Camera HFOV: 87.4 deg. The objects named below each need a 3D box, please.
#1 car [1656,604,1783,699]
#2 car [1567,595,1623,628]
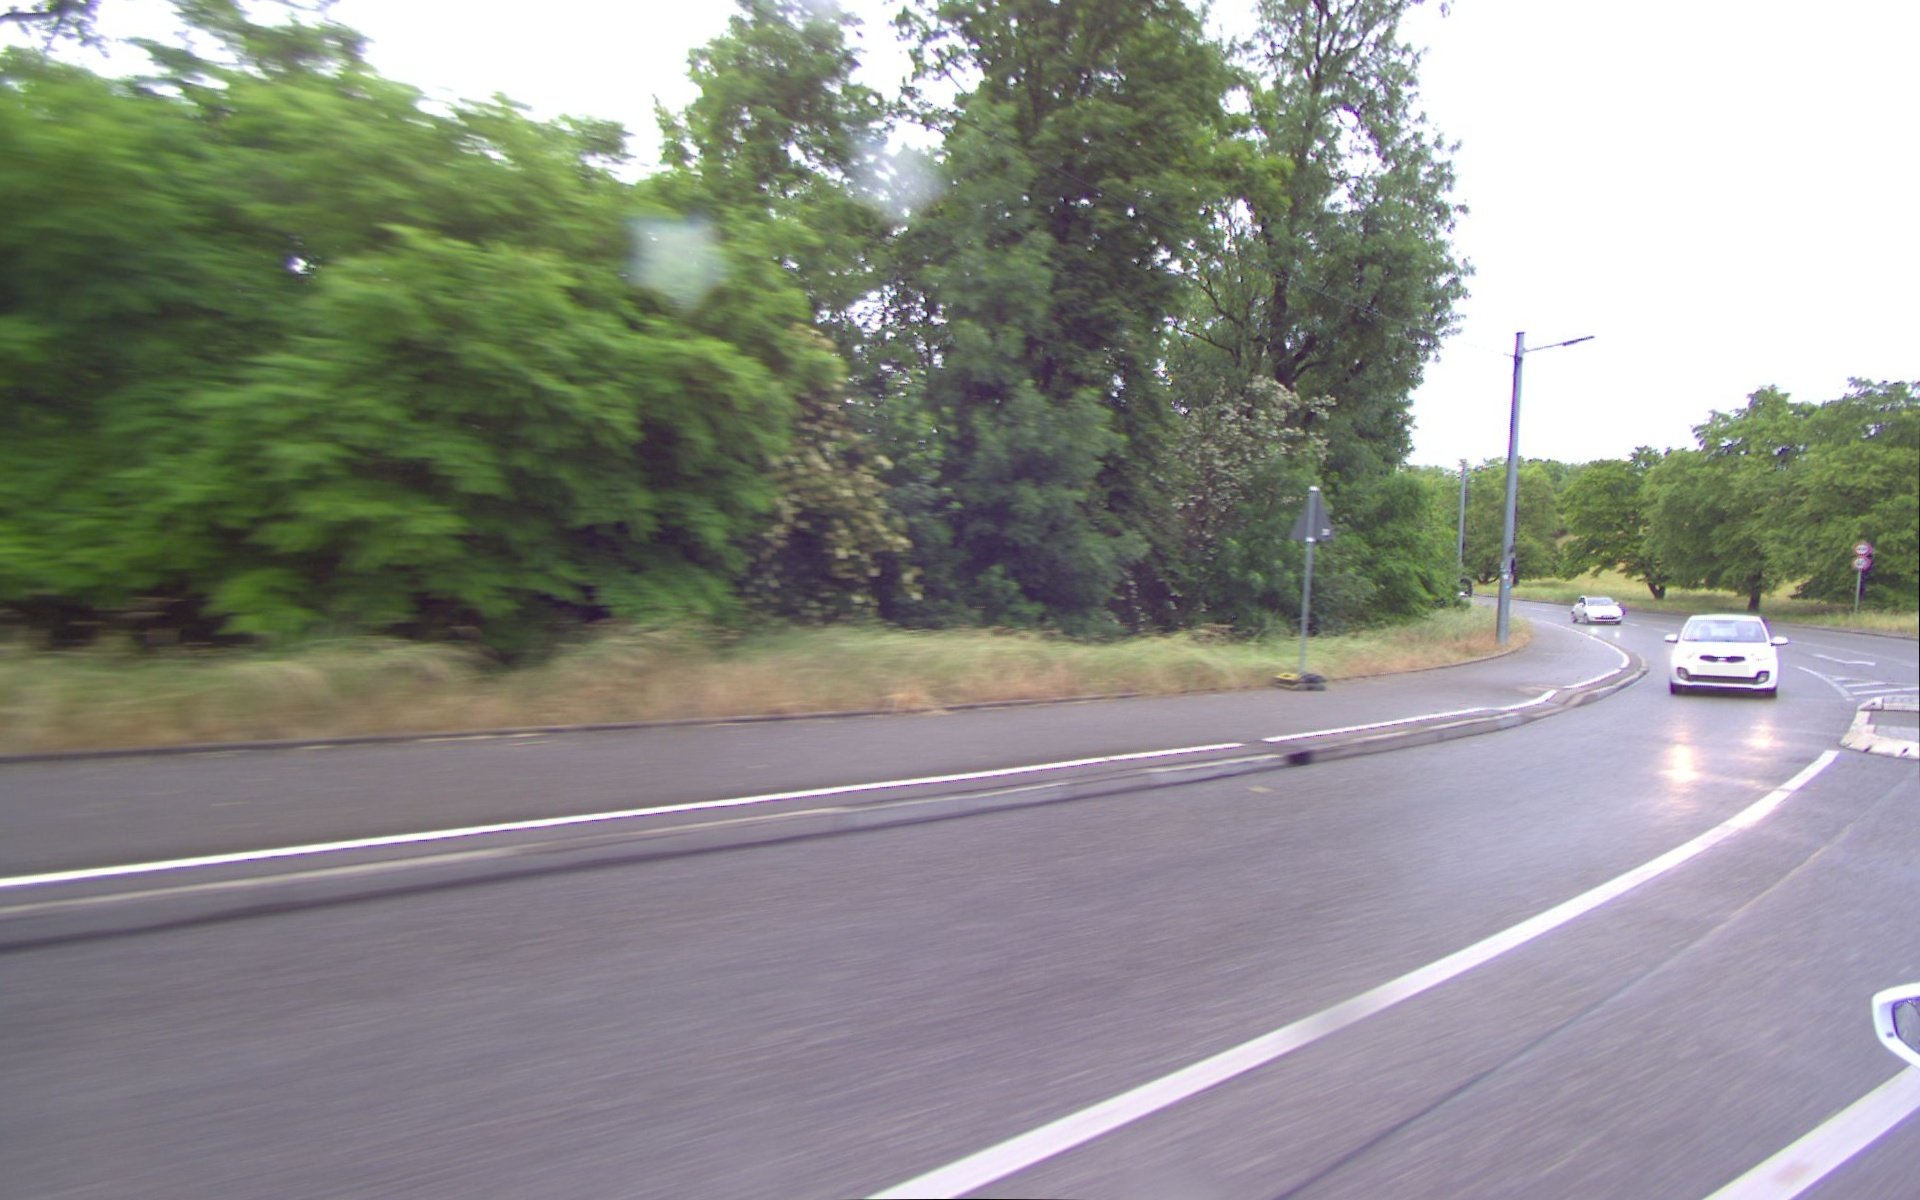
[{"bbox_3d":[14.868,0.913,19.574,1.772,1.506,3.980,-1,1,40],"label":"car"},{"bbox_3d":[34.268,0.568,54.321,1.785,1.617,3.998,0,2,21],"label":"car"}]
